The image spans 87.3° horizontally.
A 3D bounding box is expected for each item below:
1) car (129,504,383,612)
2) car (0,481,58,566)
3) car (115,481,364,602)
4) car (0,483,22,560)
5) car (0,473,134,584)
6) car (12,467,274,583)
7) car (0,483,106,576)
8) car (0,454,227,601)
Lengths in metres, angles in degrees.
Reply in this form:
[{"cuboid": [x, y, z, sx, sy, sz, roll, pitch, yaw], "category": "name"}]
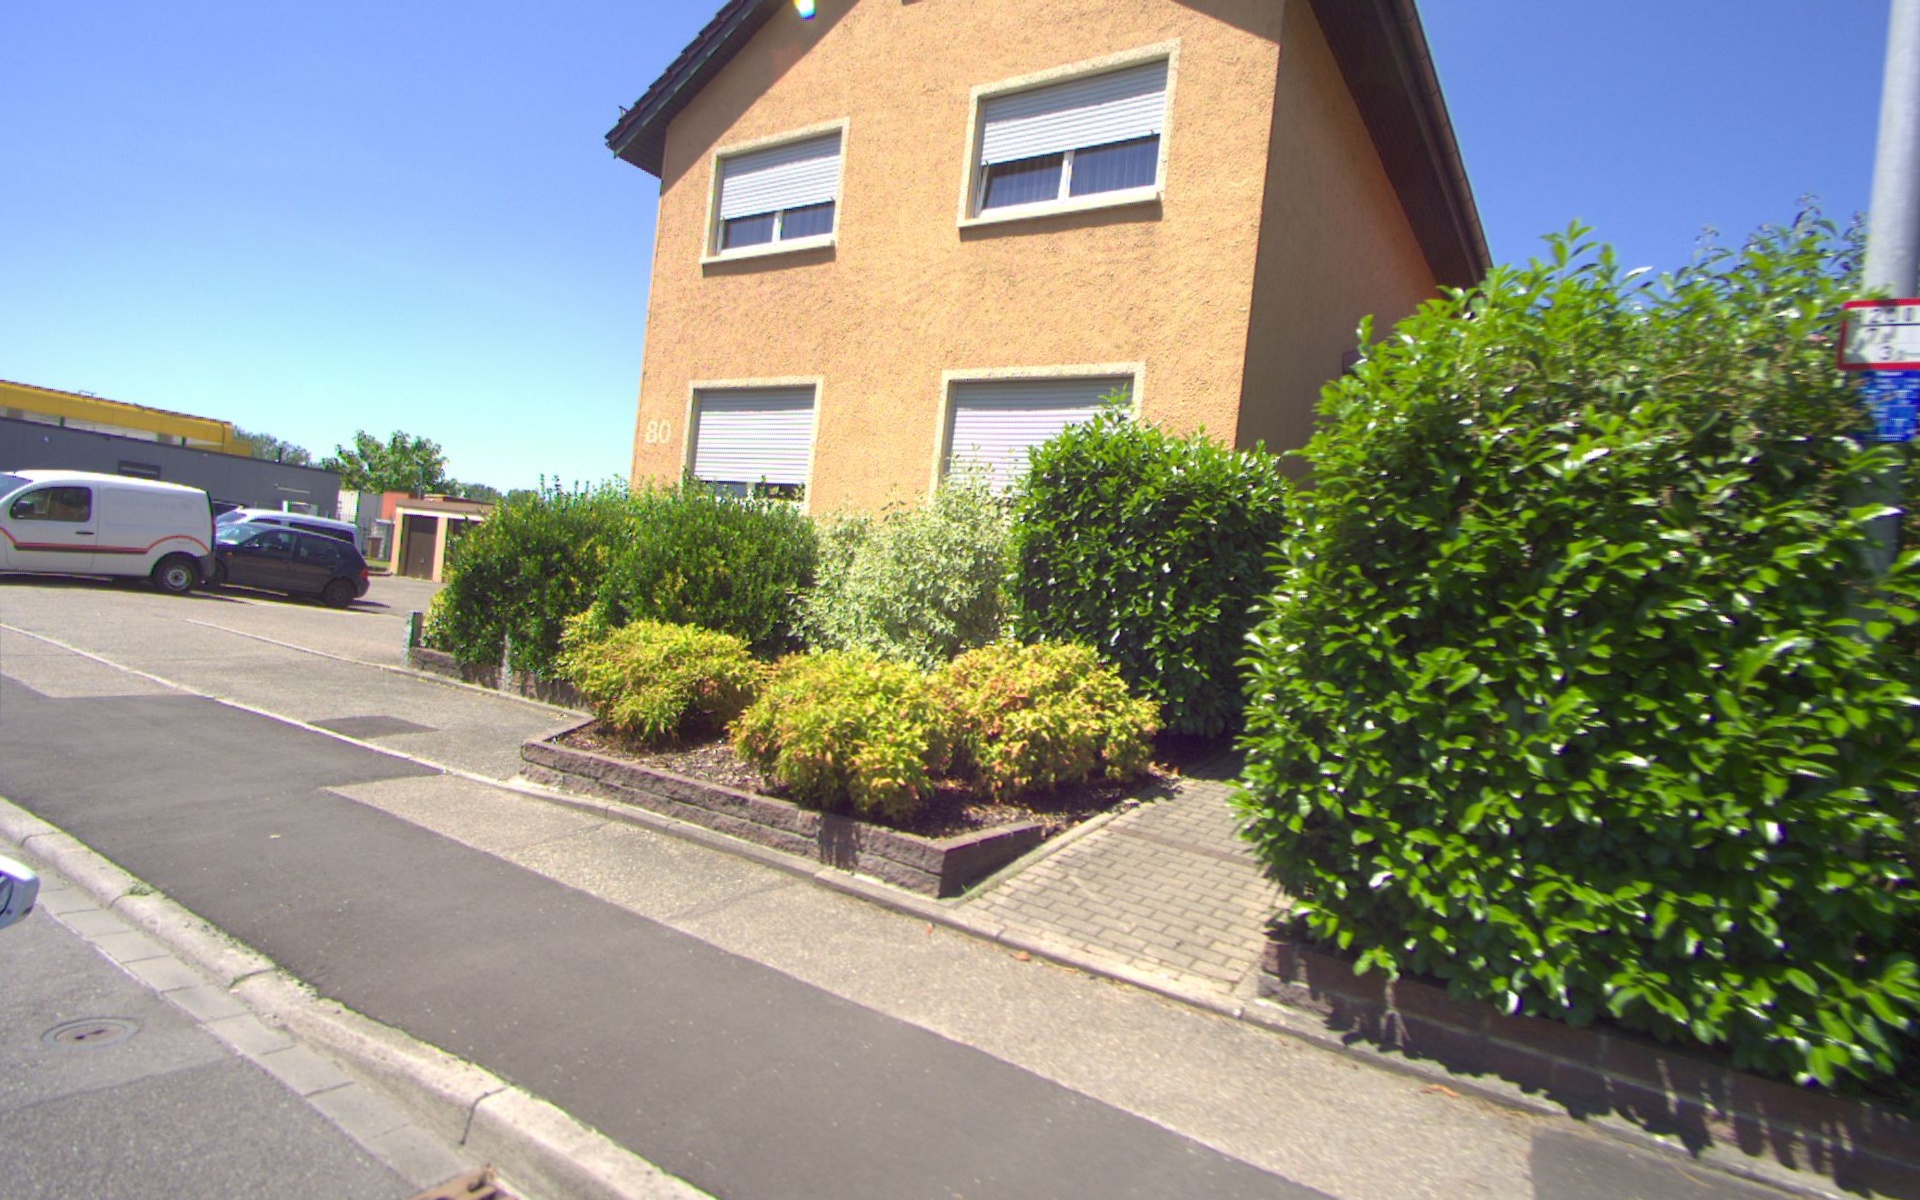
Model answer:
[{"cuboid": [-14.139, -0.795, 20.411, 1.915, 1.483, 3.618, 7, -3, 27], "category": "car"}, {"cuboid": [-19.925, -1.661, 19.178, 1.614, 1.586, 3.688, 7, 1, 30], "category": "car"}, {"cuboid": [-15.533, -1.215, 21.901, 1.661, 1.858, 3.902, 7, -3, 34], "category": "car"}, {"cuboid": [-21.803, -1.843, 20.370, 1.720, 1.586, 3.690, 7, 1, 29], "category": "car"}, {"cuboid": [-16.469, -1.320, 16.663, 1.733, 1.702, 3.880, 7, 1, 29], "category": "car"}, {"cuboid": [-19.661, -1.744, 24.437, 1.938, 1.917, 4.354, 7, -3, 30], "category": "car"}, {"cuboid": [-18.164, -1.428, 18.149, 1.803, 1.529, 3.794, 7, 1, 33], "category": "car"}, {"cuboid": [-14.484, -1.186, 15.956, 1.776, 1.962, 4.143, 7, 0, 27], "category": "car"}]
